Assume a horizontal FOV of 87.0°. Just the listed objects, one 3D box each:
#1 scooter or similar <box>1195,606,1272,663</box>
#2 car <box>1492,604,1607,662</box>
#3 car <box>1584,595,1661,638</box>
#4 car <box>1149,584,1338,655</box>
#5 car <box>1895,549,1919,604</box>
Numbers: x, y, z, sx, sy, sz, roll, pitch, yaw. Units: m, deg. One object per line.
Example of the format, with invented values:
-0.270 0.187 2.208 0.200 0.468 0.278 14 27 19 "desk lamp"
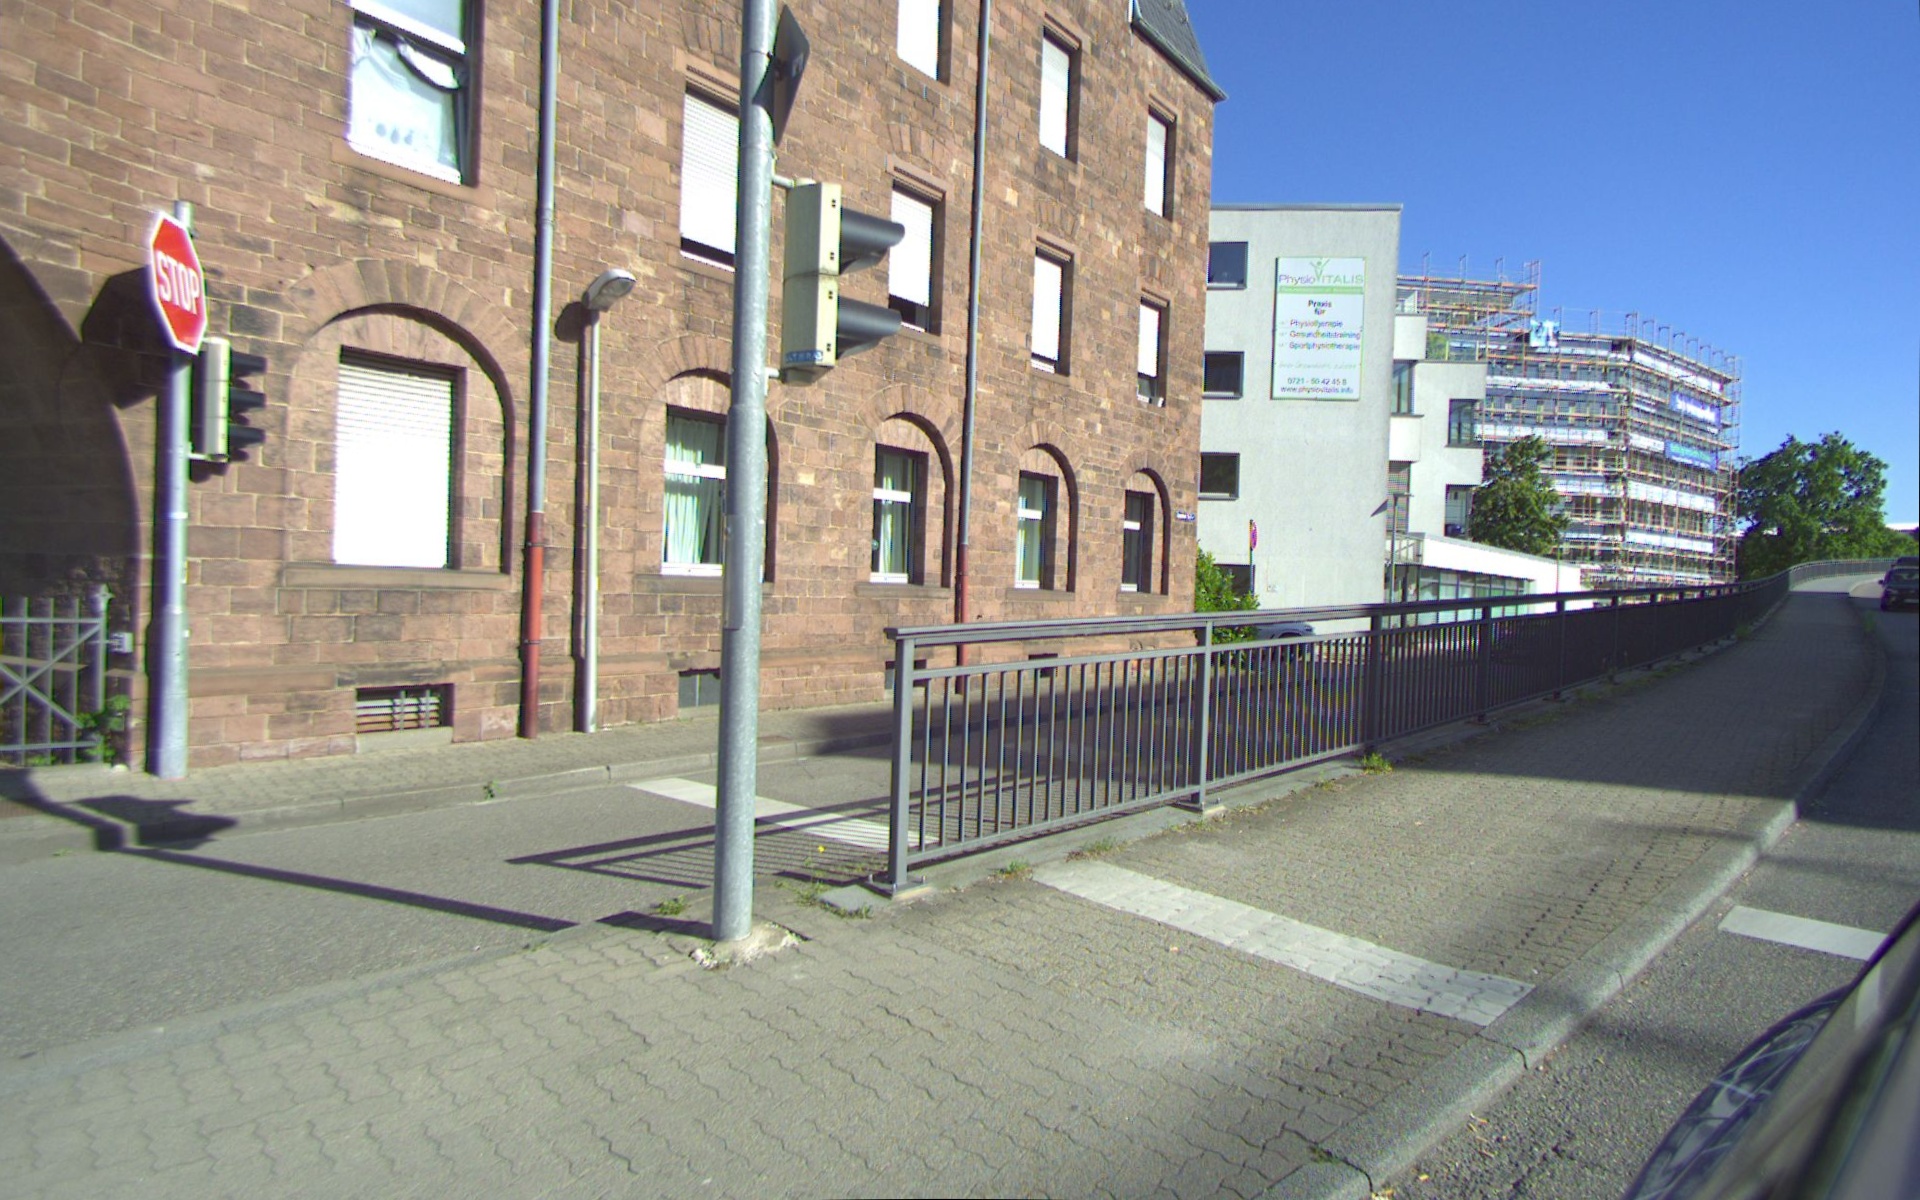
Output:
6.056 0.743 22.433 1.454 1.235 0.774 -1 -1 38 "scooter or similar"
17.666 0.919 30.245 4.607 1.448 1.846 -2 2 -45 "car"
26.652 0.645 40.692 1.845 1.554 3.936 4 2 44 "car"
7.472 0.475 27.049 4.566 1.789 1.827 0 2 4 "car"
40.492 -0.994 42.231 1.903 2.241 4.532 1 2 40 "car"
